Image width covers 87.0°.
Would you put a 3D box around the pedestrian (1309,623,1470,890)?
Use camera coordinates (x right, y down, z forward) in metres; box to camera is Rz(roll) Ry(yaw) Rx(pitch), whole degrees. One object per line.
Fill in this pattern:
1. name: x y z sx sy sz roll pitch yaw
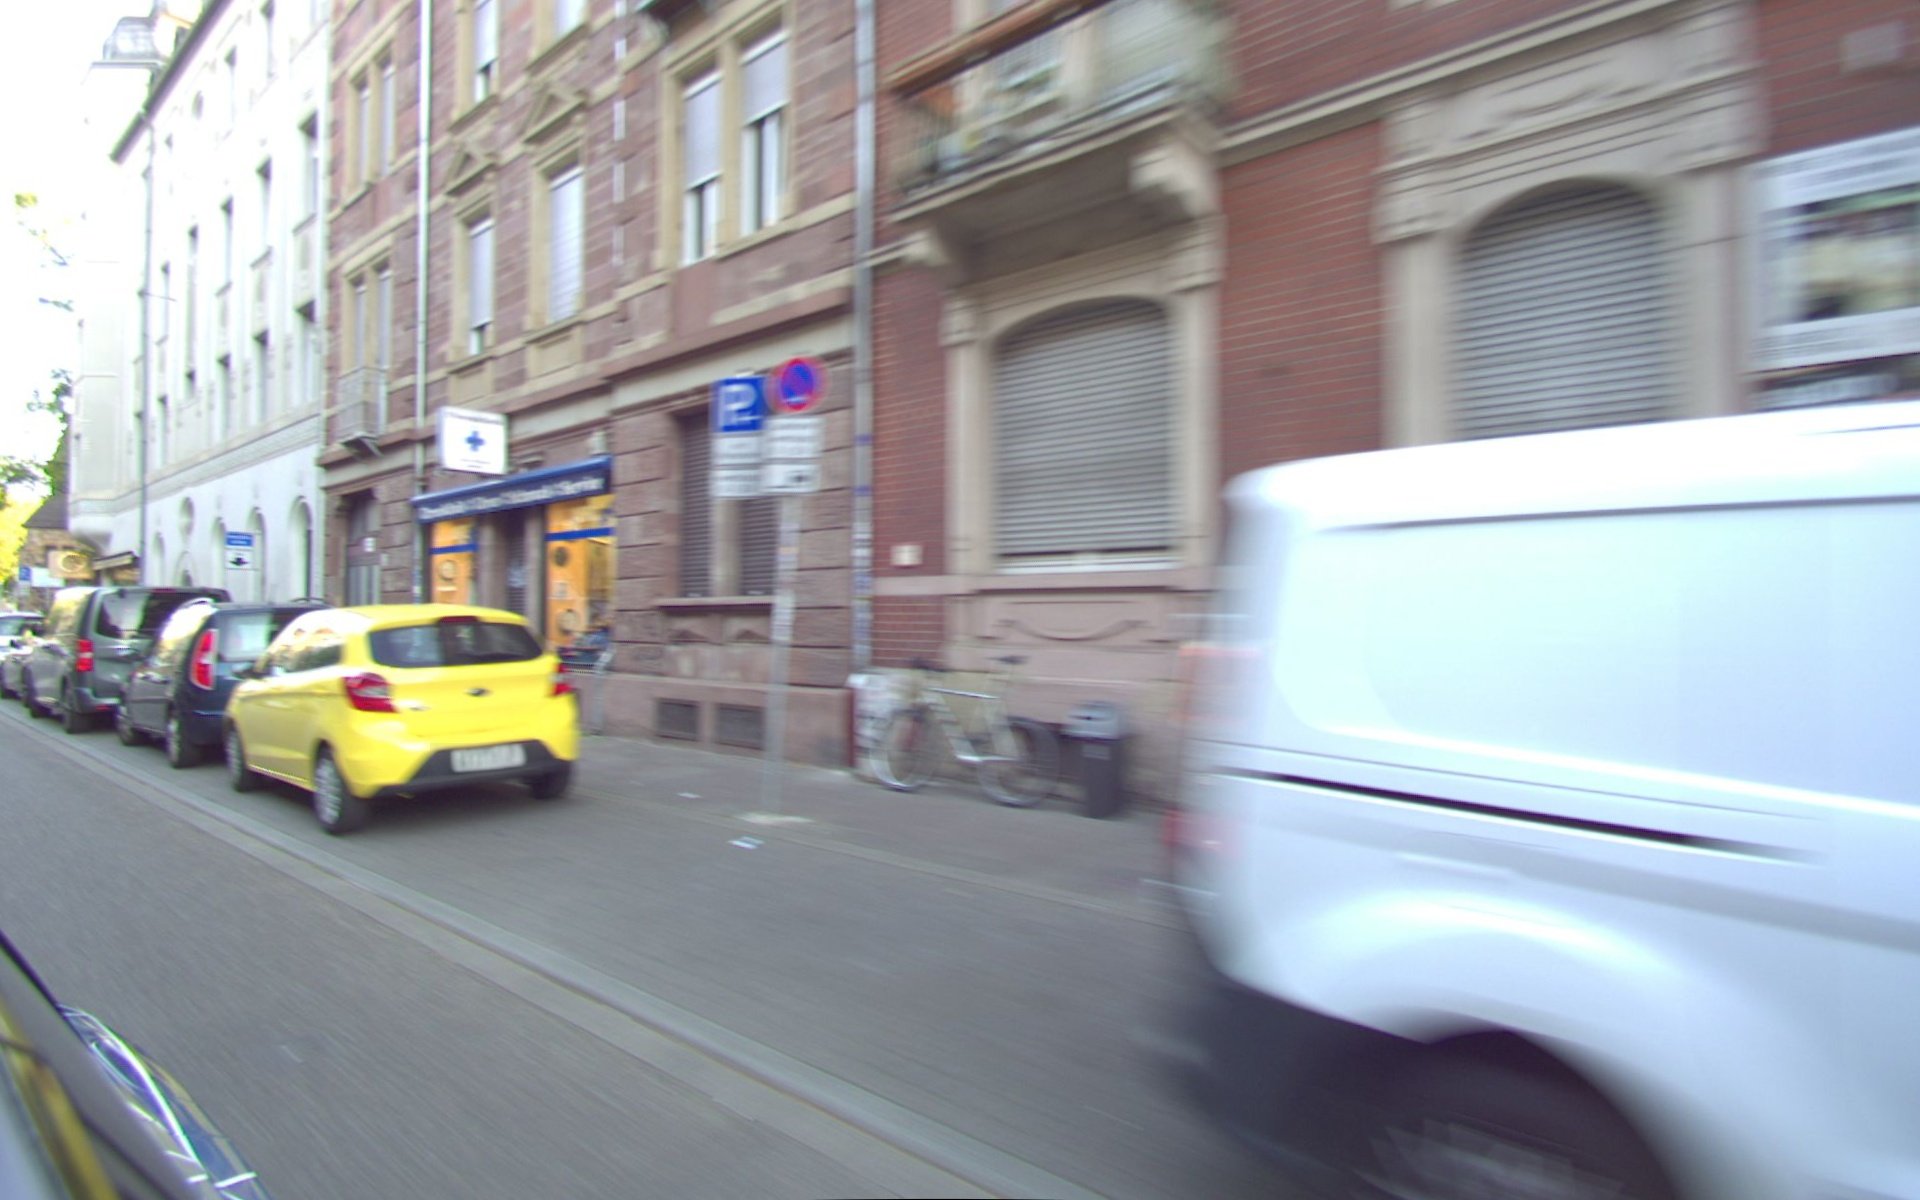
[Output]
1. pedestrian: 2.256 0.739 5.267 0.503 1.212 1.028 -1 0 39

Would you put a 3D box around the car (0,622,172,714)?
1. car: -15.998 1.138 18.294 4.478 1.441 1.907 -1 -1 41

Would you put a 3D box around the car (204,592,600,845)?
1. car: -4.591 0.761 8.095 3.792 1.541 1.686 -1 -2 43

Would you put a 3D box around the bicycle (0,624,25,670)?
1. bicycle: -30.637 1.489 31.211 2.581 1.409 0.603 0 0 -36

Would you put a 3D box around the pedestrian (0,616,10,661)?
1. pedestrian: -37.455 1.486 39.443 0.562 1.746 0.559 -1 0 40

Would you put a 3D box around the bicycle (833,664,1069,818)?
1. bicycle: -0.126 1.003 7.611 1.992 0.952 0.353 0 0 38

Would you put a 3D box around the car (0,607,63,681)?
1. car: -22.904 1.022 24.212 3.915 1.660 1.708 -1 -1 41

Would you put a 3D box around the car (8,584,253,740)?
1. car: -12.093 0.806 14.635 4.902 1.897 1.907 -1 -1 41

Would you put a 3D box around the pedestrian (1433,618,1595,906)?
1. pedestrian: 2.698 0.728 4.920 0.585 1.261 0.612 -1 0 39

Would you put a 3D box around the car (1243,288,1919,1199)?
1. car: 2.880 0.465 1.232 4.583 1.802 1.753 0 0 40

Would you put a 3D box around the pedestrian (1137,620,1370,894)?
1. pedestrian: 1.613 0.729 5.406 0.641 1.212 1.546 -1 0 39

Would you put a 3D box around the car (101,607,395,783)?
1. car: -8.047 0.910 11.309 3.969 1.608 1.906 -1 -2 43
